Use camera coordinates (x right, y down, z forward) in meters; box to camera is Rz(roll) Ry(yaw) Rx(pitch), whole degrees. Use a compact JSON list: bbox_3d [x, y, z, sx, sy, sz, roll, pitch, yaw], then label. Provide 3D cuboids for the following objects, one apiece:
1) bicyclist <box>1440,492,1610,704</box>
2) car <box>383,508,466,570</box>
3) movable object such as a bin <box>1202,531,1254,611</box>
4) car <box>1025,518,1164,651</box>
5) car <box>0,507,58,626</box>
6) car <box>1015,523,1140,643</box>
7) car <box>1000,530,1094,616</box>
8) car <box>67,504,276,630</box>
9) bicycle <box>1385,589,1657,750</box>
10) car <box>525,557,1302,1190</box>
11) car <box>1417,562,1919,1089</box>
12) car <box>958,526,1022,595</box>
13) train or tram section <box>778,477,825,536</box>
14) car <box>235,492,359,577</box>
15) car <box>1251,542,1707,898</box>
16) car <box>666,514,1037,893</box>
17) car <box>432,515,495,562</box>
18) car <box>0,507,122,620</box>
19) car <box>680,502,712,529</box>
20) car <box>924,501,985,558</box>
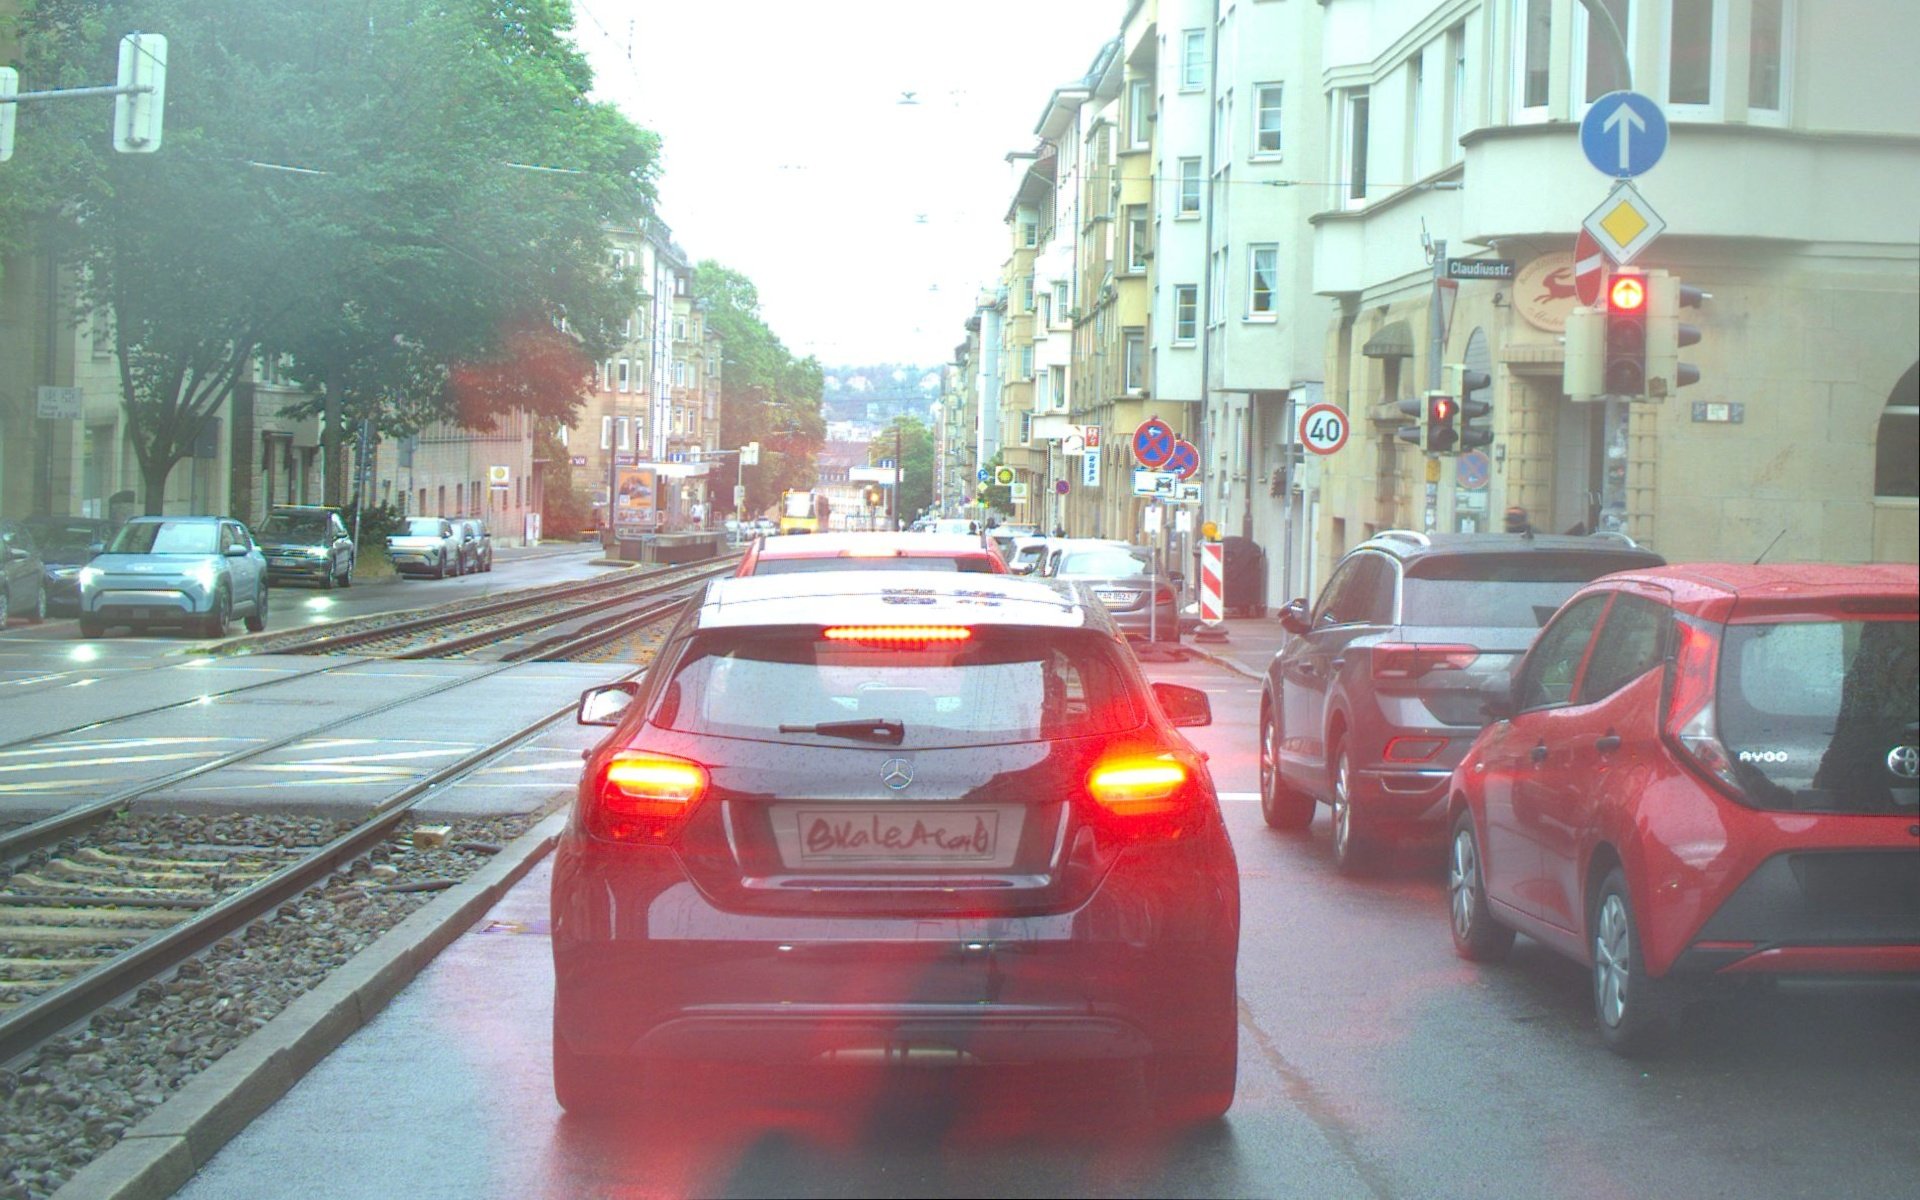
[{"bbox_3d":[4.364,-0.020,26.632,1.250,1.592,0.887,1,0,8],"label":"bicyclist"},{"bbox_3d":[-13.995,-1.581,89.981,1.589,1.575,3.918,1,0,-1],"label":"car"},{"bbox_3d":[4.708,-0.514,60.386,0.878,1.384,0.982,1,0,3],"label":"movable object such as a bin"},{"bbox_3d":[1.662,-0.221,43.455,1.544,1.585,3.548,1,1,-1],"label":"car"},{"bbox_3d":[-13.489,-0.461,46.509,1.752,1.547,4.036,1,0,-4],"label":"car"},{"bbox_3d":[1.606,-0.258,47.930,1.544,1.585,3.548,1,1,-1],"label":"car"},{"bbox_3d":[1.550,-0.514,62.340,1.544,1.481,3.548,1,1,-1],"label":"car"},{"bbox_3d":[-10.464,-0.440,45.895,1.898,1.582,3.973,1,0,-1],"label":"car"},{"bbox_3d":[4.337,0.525,26.641,2.031,1.182,0.826,1,0,9],"label":"bicycle"},{"bbox_3d":[-0.137,0.630,10.272,1.829,1.453,4.104,1,1,-1],"label":"car"},{"bbox_3d":[2.639,0.627,11.340,1.642,1.443,3.299,1,1,-3],"label":"car"},{"bbox_3d":[0.632,-0.876,74.408,1.294,1.437,2.929,1,1,-1],"label":"car"},{"bbox_3d":[-10.854,-6.394,236.351,2.783,3.847,10.430,1,0,-1],"label":"train or tram section"},{"bbox_3d":[-13.959,-1.361,72.518,1.875,1.731,3.918,1,0,-1],"label":"car"},{"bbox_3d":[2.376,0.482,16.578,1.544,1.481,3.830,1,1,-1],"label":"car"},{"bbox_3d":[-0.489,0.427,16.659,1.565,1.604,3.814,1,0,-1],"label":"car"},{"bbox_3d":[-14.337,-1.770,99.390,1.448,1.326,3.272,1,0,-2],"label":"car"},{"bbox_3d":[-13.741,-0.551,51.539,1.716,1.605,3.919,1,0,-5],"label":"car"},{"bbox_3d":[-12.430,-3.975,162.068,1.377,1.245,3.298,1,0,-2],"label":"car"},{"bbox_3d":[-0.205,-2.408,117.473,1.993,1.870,4.000,1,0,-1],"label":"car"}]
